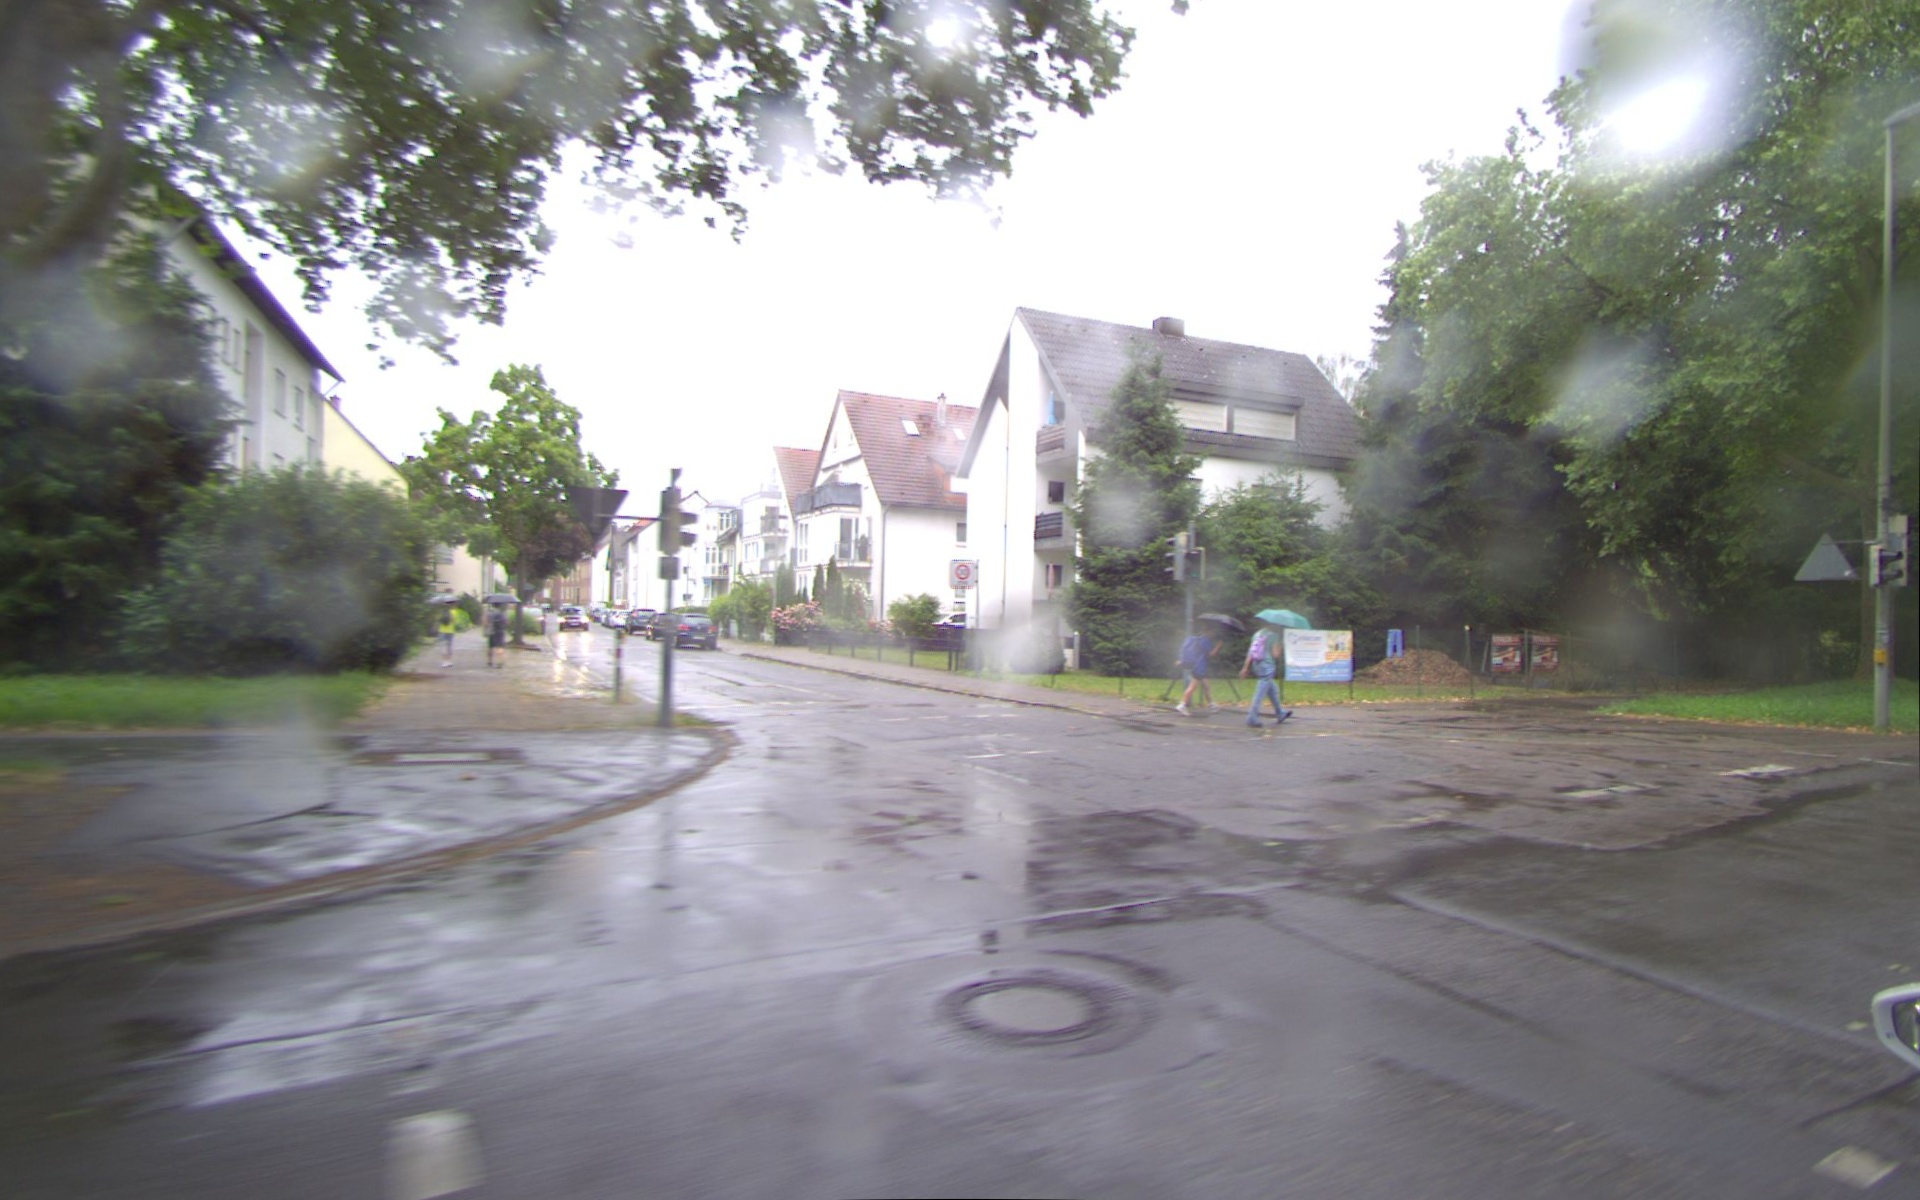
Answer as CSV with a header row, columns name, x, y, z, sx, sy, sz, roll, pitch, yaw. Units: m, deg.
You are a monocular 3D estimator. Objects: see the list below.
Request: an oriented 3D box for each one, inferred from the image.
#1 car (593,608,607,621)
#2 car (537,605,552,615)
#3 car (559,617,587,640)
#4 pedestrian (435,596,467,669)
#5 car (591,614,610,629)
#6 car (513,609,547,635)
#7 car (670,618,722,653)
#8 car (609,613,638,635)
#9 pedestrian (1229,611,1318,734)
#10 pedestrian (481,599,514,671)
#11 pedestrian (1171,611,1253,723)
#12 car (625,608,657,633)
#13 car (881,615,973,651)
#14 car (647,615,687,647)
name,x,y,z,sx,sy,sz,roll,pitch,yaw
car,-39.545,1.589,110.301,1.268,1.434,2.963,2,-2,-24
car,-69.061,1.599,166.839,1.860,1.606,3.971,2,-1,-28
car,-25.658,1.870,66.505,1.506,1.390,3.709,2,-1,-25
pedestrian,-12.520,0.793,24.715,0.632,1.767,0.589,2,-1,-30
car,-35.475,2.123,98.996,1.485,1.419,3.313,2,-1,-24
car,-24.555,1.226,57.481,1.669,1.390,3.713,2,-1,-22
car,-11.440,1.509,43.397,1.669,1.390,3.700,2,-1,-22
car,-25.071,1.786,74.827,1.605,1.574,3.513,2,-2,-25
pedestrian,4.772,1.079,15.327,0.827,1.788,1.029,1,-2,-27
pedestrian,-11.621,0.864,25.213,0.632,1.767,0.854,2,-1,-30
pedestrian,4.190,1.092,16.755,0.868,1.788,1.029,1,-2,-28
car,-19.344,1.227,60.872,1.577,1.390,3.713,2,-1,-22
car,-1.427,1.447,43.460,3.611,1.465,1.610,2,-2,-28
car,-15.251,1.587,52.113,1.515,1.535,3.431,1,-1,-24
